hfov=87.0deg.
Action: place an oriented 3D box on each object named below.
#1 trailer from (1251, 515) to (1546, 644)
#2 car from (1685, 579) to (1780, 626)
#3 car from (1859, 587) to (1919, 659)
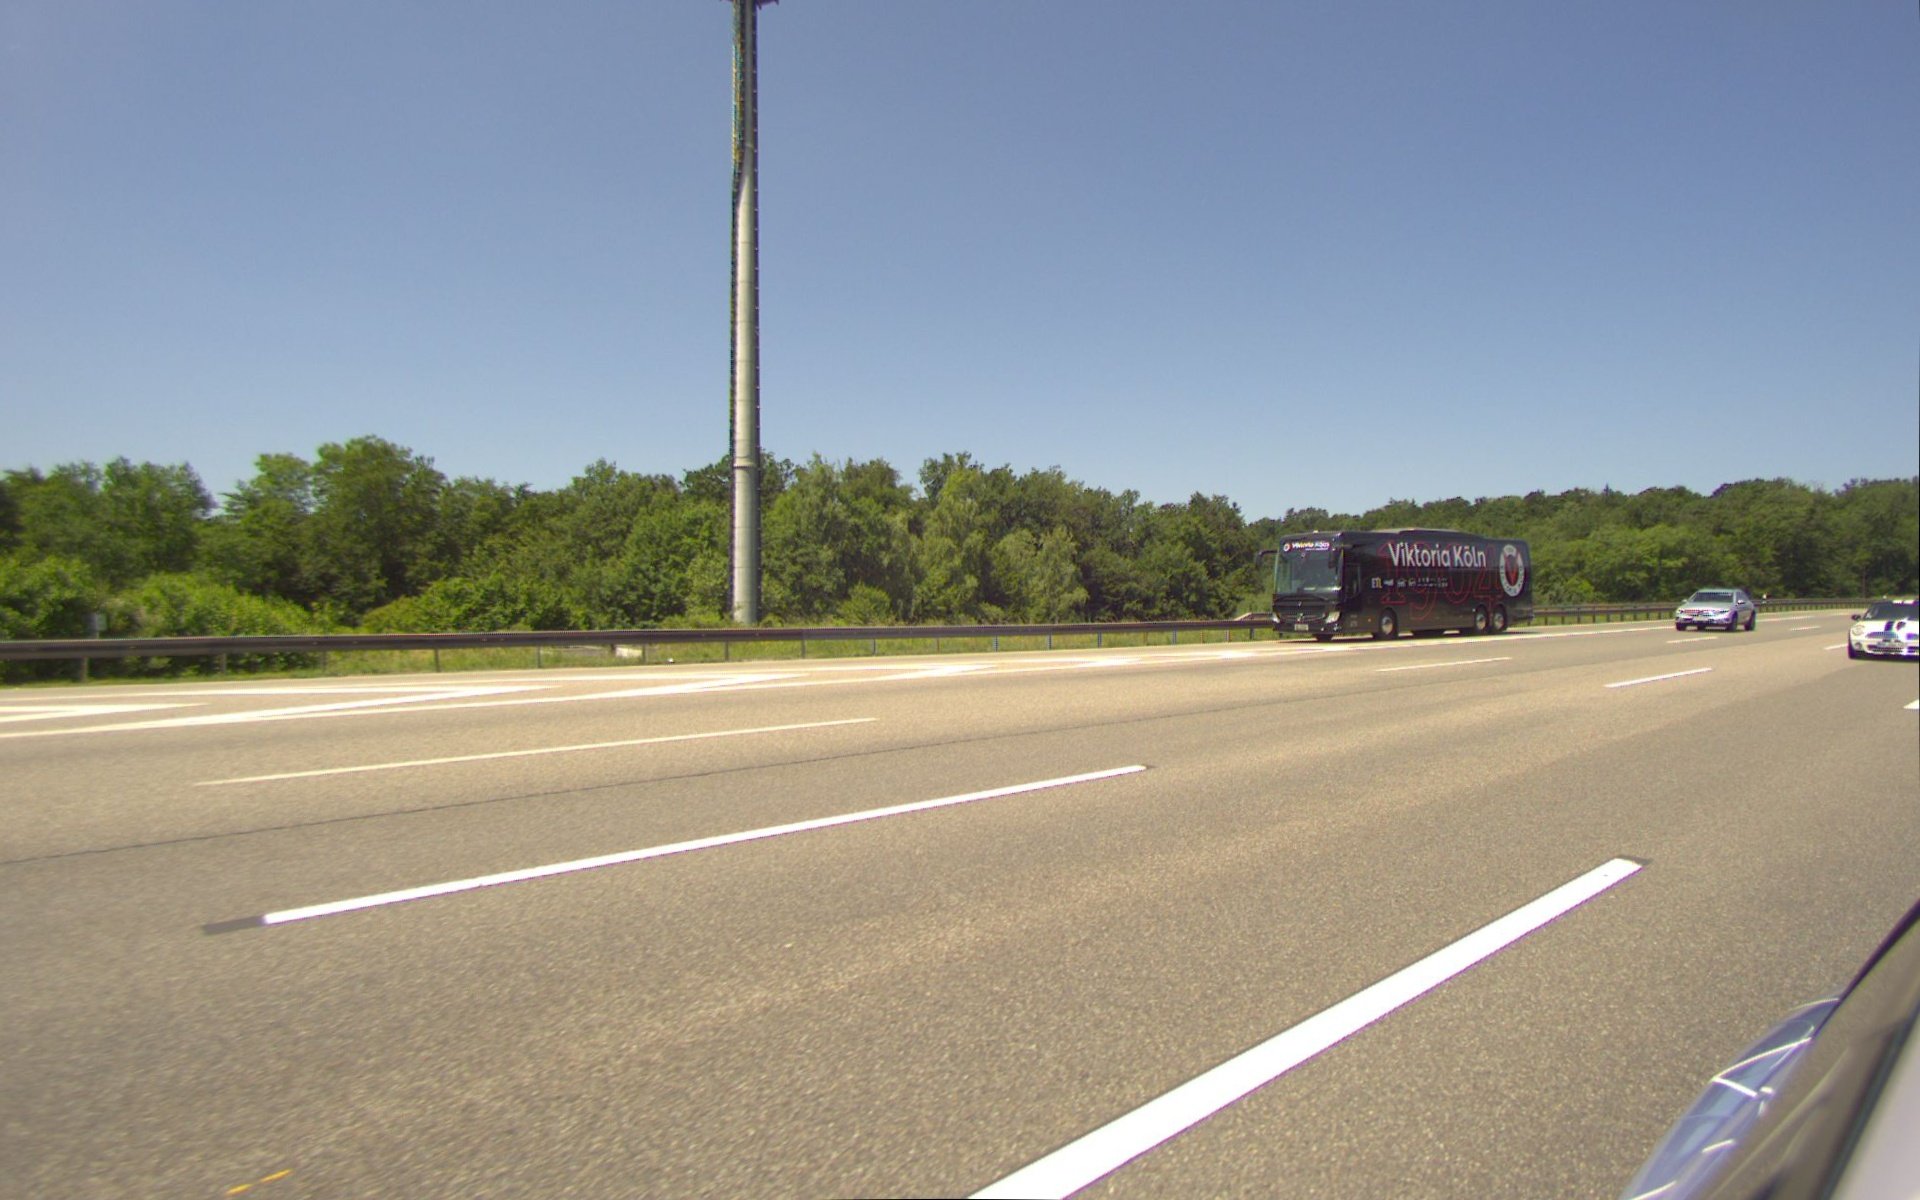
[{"bbox_3d":[15.317,-0.691,34.406,13.289,3.734,2.866,-1,0,-36],"label":"trailer"},{"bbox_3d":[30.490,0.106,39.896,5.144,1.753,1.805,1,0,-39],"label":"car"},{"bbox_3d":[22.340,0.491,23.389,3.930,1.571,1.844,0,0,-41],"label":"car"}]
